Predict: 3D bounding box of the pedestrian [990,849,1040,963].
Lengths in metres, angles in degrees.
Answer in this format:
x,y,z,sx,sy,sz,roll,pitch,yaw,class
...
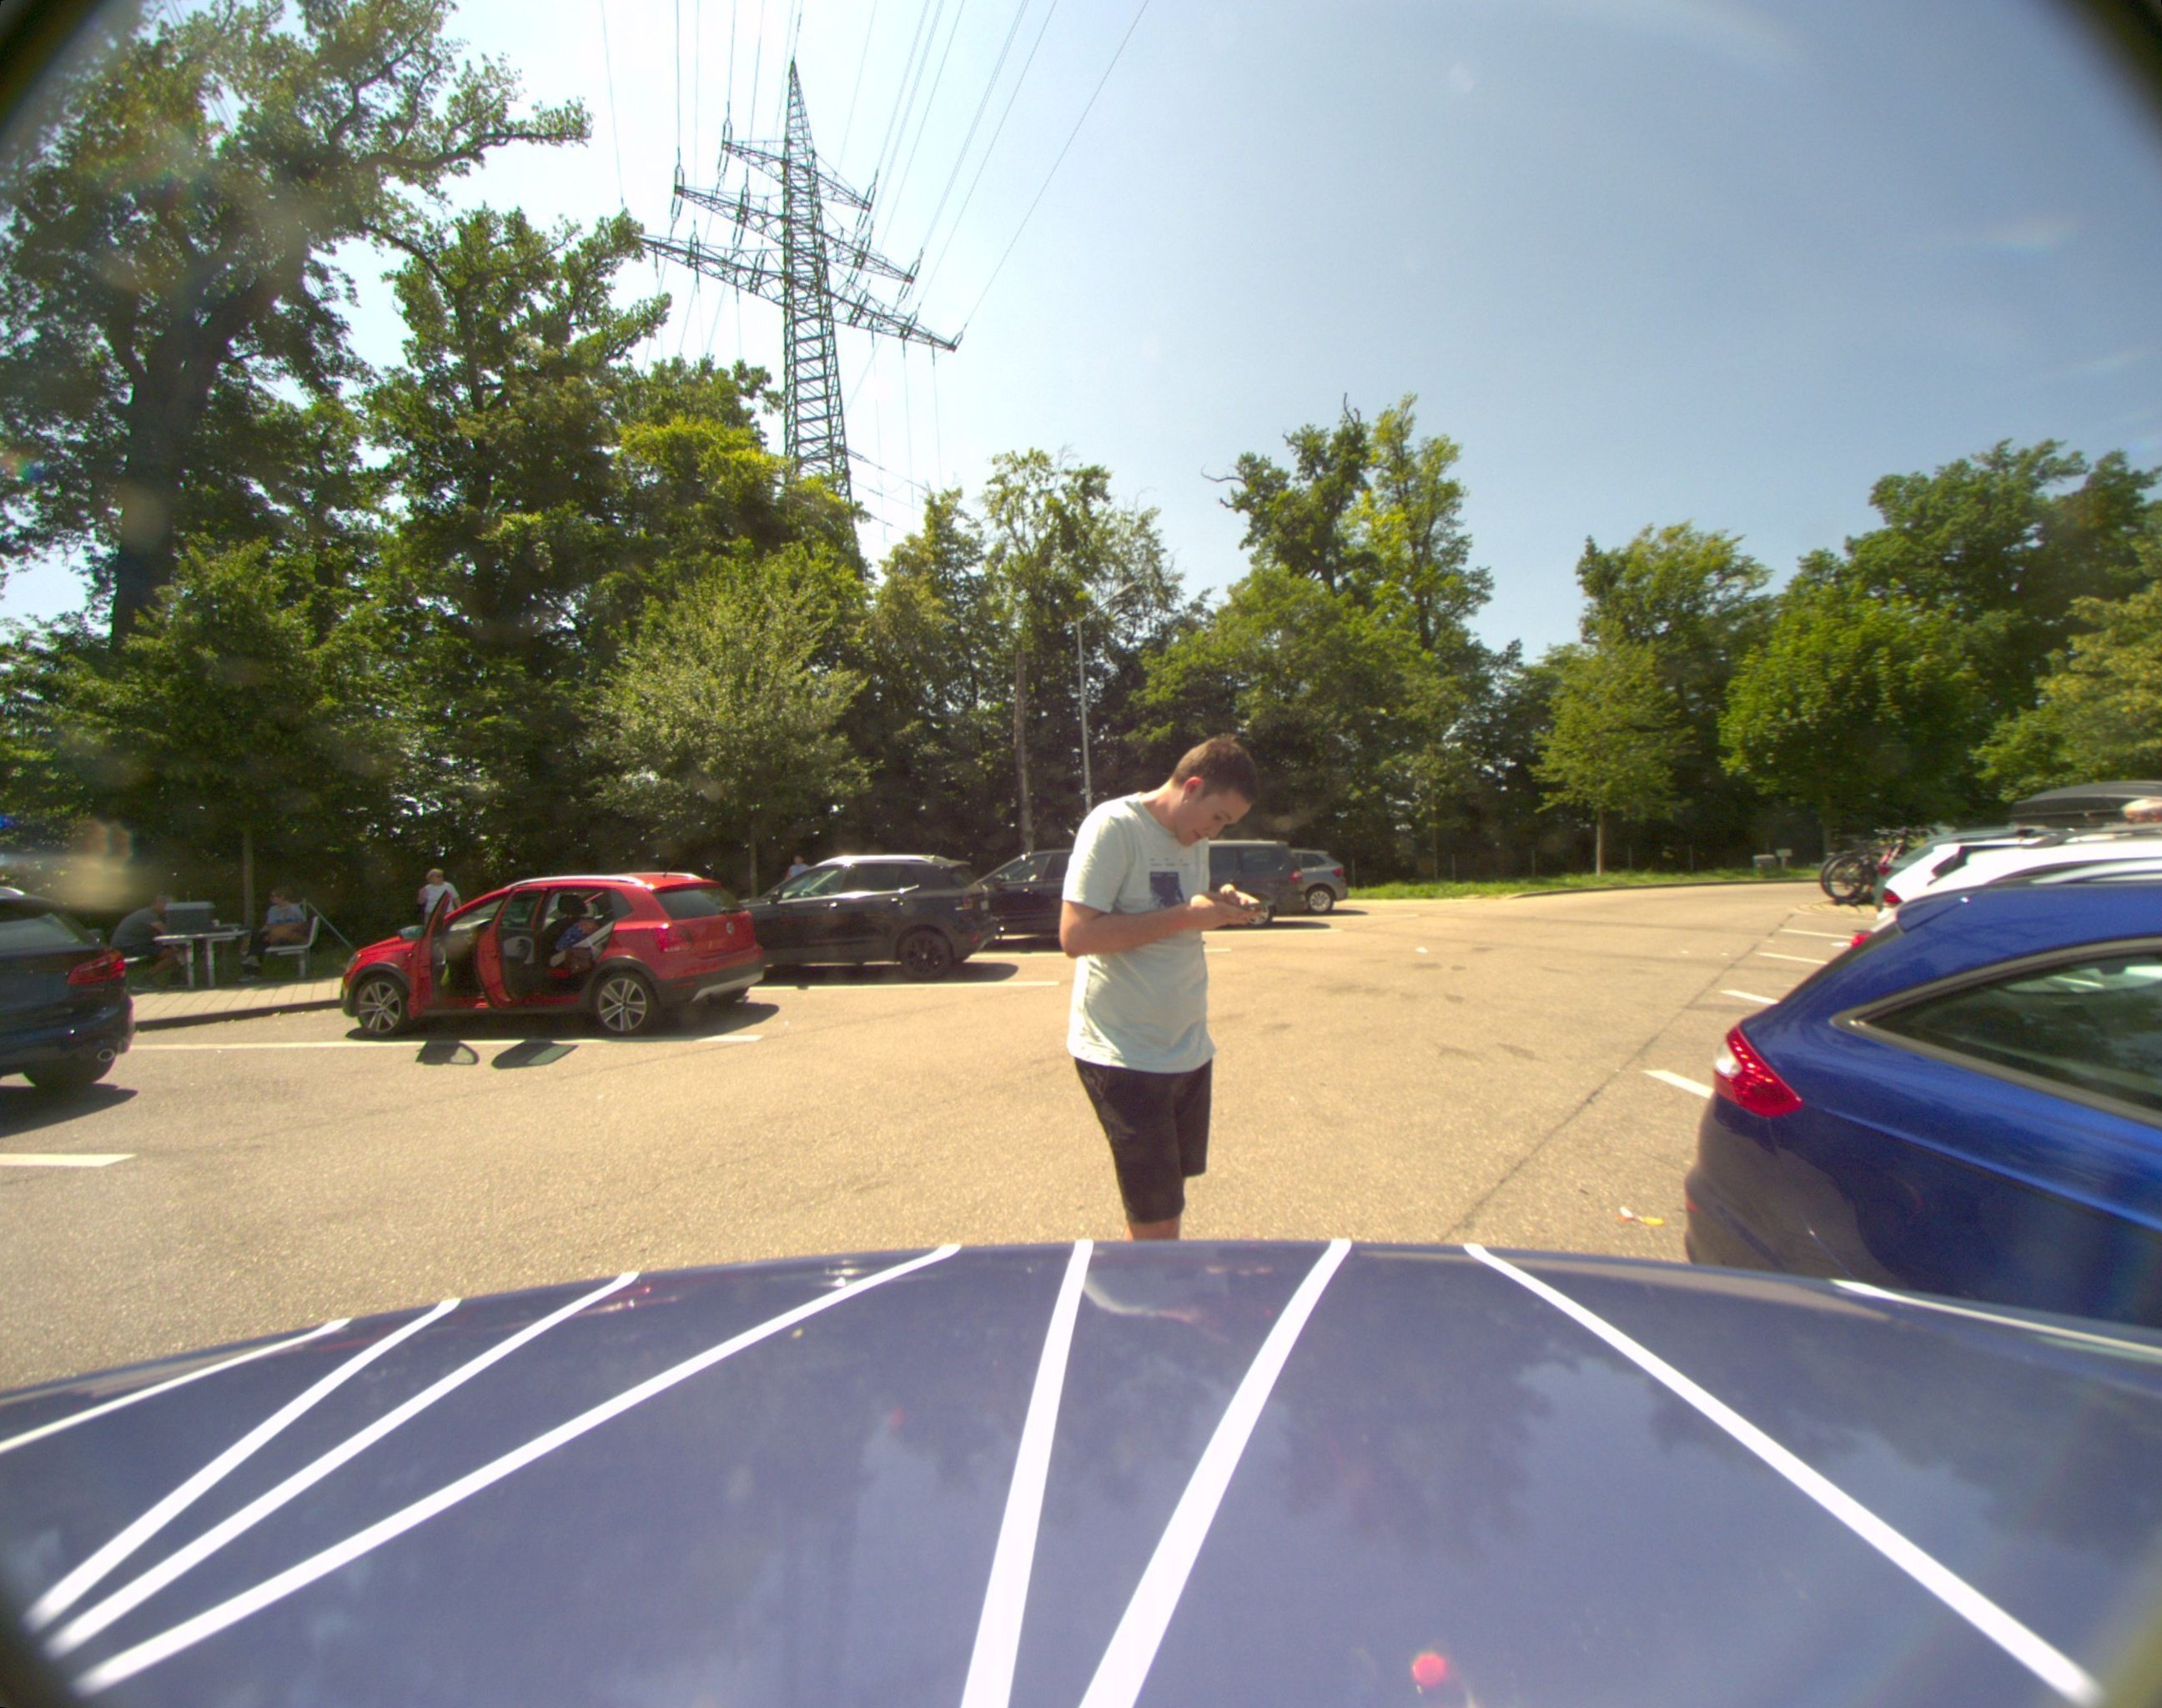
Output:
x,y,z,sx,sy,sz,roll,pitch,yaw,class
-1.041,0.809,12.110,0.660,1.745,0.636,-2,0,1,pedestrian

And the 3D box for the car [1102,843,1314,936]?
x,y,z,sx,sy,sz,roll,pitch,yaw,class
2.510,0.697,15.472,3.964,1.678,1.781,-2,0,7,car

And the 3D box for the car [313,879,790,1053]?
x,y,z,sx,sy,sz,roll,pitch,yaw,class
-5.195,1.070,7.744,3.704,1.448,1.781,-2,0,7,car

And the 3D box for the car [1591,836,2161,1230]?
x,y,z,sx,sy,sz,roll,pitch,yaw,class
4.903,0.659,3.691,1.779,1.456,4.470,-2,-1,0,car

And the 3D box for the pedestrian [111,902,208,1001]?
x,y,z,sx,sy,sz,roll,pitch,yaw,class
-12.707,1.320,10.490,0.652,1.262,0.672,-2,0,24,pedestrian

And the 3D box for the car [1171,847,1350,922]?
x,y,z,sx,sy,sz,roll,pitch,yaw,class
4.181,0.713,18.224,3.964,1.577,1.781,-2,0,7,car

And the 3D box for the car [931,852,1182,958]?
x,y,z,sx,sy,sz,roll,pitch,yaw,class
-0.326,0.840,12.981,3.964,1.582,1.781,-2,0,8,car

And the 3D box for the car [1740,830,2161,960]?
x,y,z,sx,sy,sz,roll,pitch,yaw,class
12.365,0.480,10.960,1.779,1.456,4.470,-2,-1,0,car

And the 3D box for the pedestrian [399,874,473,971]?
x,y,z,sx,sy,sz,roll,pitch,yaw,class
-11.118,1.147,13.118,0.777,1.584,0.808,-2,0,-28,pedestrian

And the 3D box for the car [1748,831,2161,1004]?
x,y,z,sx,sy,sz,roll,pitch,yaw,class
10.062,0.536,8.177,1.779,1.456,4.470,-2,-1,0,car

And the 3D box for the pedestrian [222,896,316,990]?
x,y,z,sx,sy,sz,roll,pitch,yaw,class
-11.846,1.277,11.093,0.828,1.287,0.672,-2,0,24,pedestrian

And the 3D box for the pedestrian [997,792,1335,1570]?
x,y,z,sx,sy,sz,roll,pitch,yaw,class
0.190,0.728,1.969,0.687,1.699,0.578,-2,0,1,pedestrian

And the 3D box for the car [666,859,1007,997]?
x,y,z,sx,sy,sz,roll,pitch,yaw,class
-3.150,0.937,10.353,3.966,1.582,1.841,-2,0,3,car

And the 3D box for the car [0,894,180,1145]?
x,y,z,sx,sy,sz,roll,pitch,yaw,class
-8.921,1.154,5.028,4.011,1.558,1.846,-2,0,6,car

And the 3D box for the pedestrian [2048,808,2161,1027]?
x,y,z,sx,sy,sz,roll,pitch,yaw,class
8.165,0.451,5.759,0.672,1.592,0.759,-2,0,1,pedestrian

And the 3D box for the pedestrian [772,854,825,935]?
x,y,z,sx,sy,sz,roll,pitch,yaw,class
-5.786,0.816,15.578,0.715,1.584,0.810,-2,0,2,pedestrian
